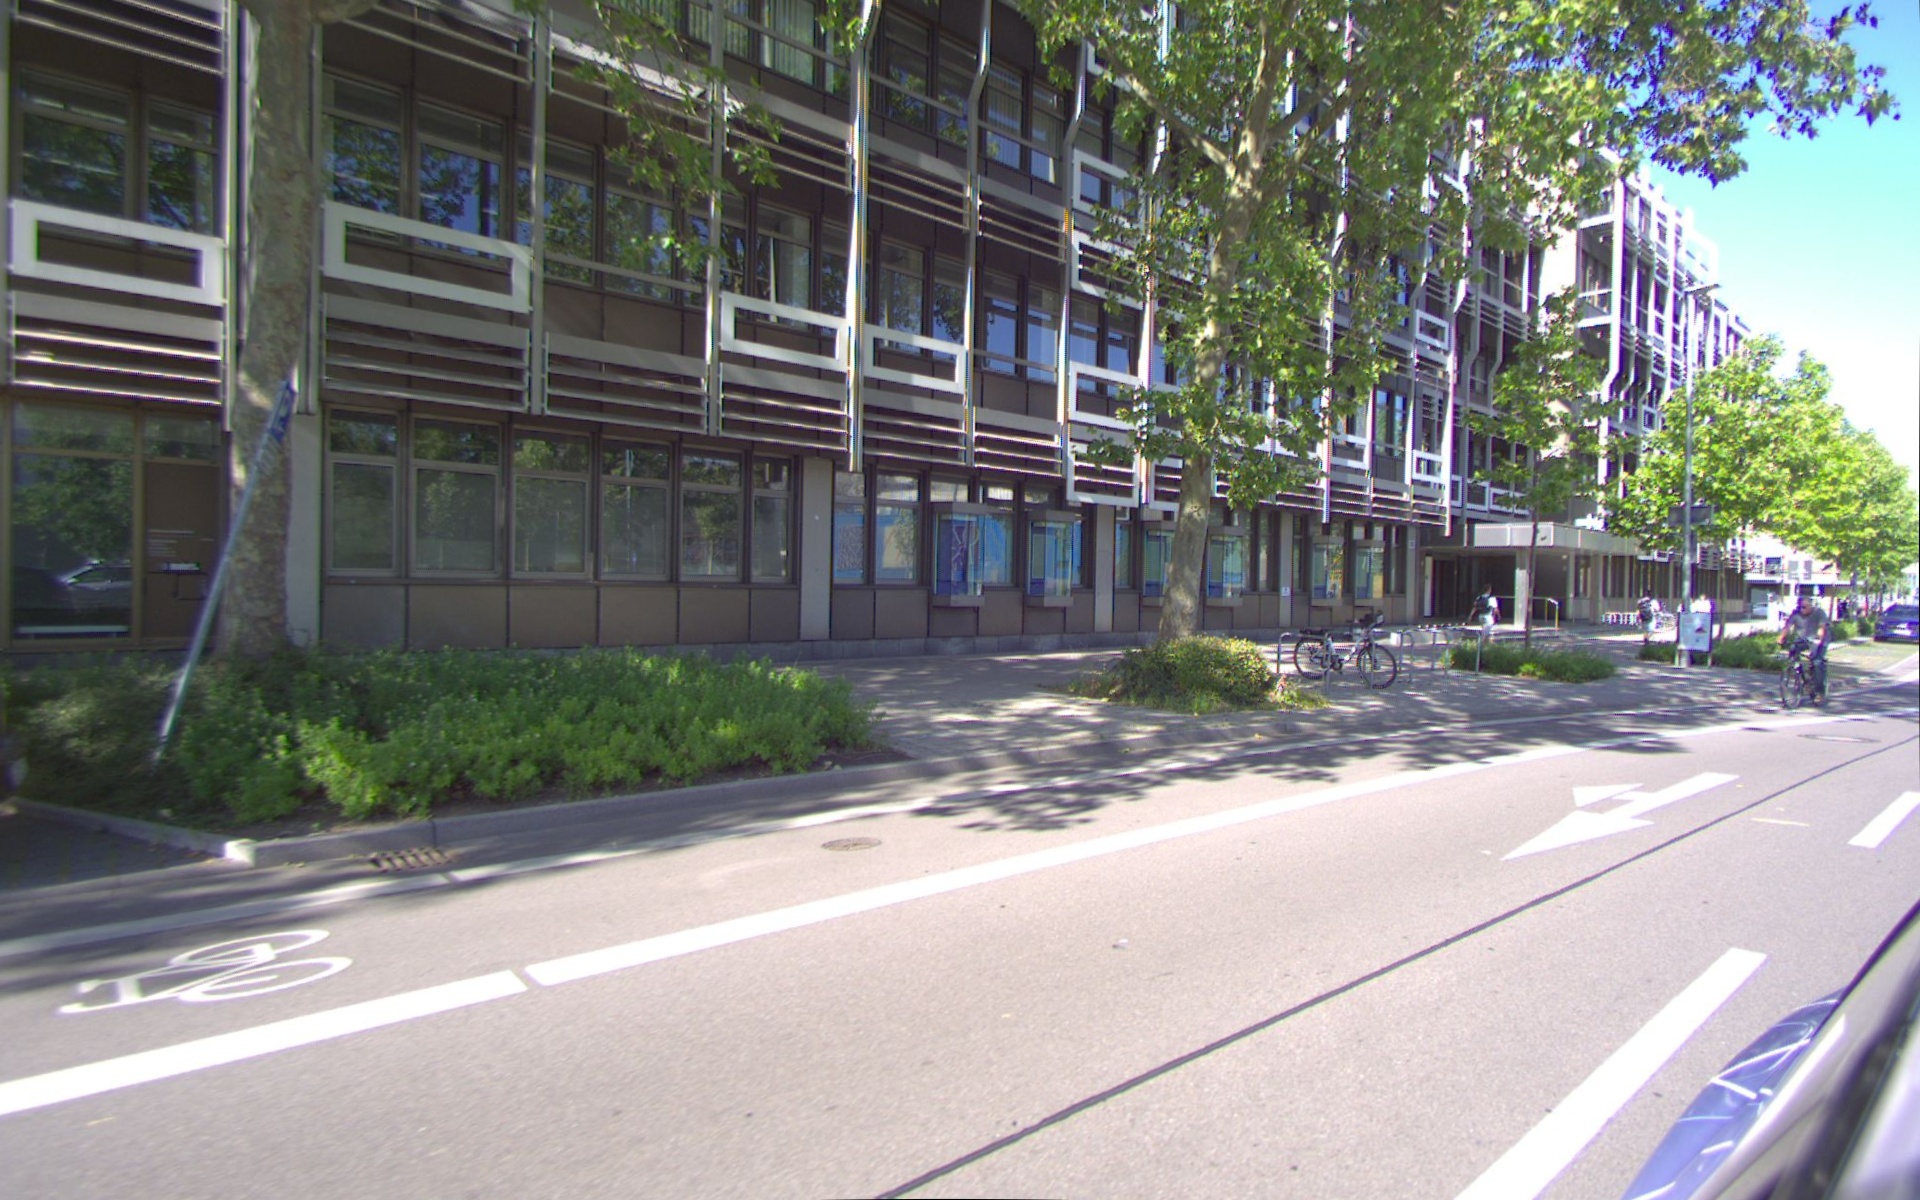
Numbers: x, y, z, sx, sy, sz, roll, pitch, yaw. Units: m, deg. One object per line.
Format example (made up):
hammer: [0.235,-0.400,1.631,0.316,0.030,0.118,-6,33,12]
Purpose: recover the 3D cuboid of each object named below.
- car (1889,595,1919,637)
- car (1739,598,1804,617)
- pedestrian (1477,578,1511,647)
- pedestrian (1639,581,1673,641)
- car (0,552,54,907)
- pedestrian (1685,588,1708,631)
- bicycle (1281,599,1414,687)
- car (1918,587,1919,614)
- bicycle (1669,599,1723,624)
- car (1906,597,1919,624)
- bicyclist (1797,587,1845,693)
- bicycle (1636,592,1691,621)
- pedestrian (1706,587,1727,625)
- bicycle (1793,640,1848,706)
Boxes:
car: [41.640,0.692,43.722,4.767,1.677,1.852,0,3,-44]
car: [72.780,0.638,90.862,4.378,1.563,1.831,2,1,34]
pedestrian: [13.506,0.304,25.586,0.760,1.722,0.512,1,0,-41]
pedestrian: [20.539,0.316,29.853,0.789,1.749,0.648,1,0,-41]
car: [-6.812,0.581,4.102,4.551,1.663,1.709,0,2,-39]
pedestrian: [25.560,0.325,35.121,0.723,1.493,0.512,1,0,-41]
bicycle: [6.289,0.666,16.507,0.569,1.252,1.940,1,2,-43]
car: [62.523,0.032,64.720,1.747,1.679,4.400,2,1,43]
bicycle: [32.643,0.498,44.925,0.419,0.950,1.863,1,3,-39]
car: [54.356,0.586,56.843,1.619,1.483,4.088,4,3,44]
bicyclist: [13.608,0.616,16.000,0.528,1.621,0.513,0,1,-45]
bicycle: [30.188,0.281,43.446,0.419,1.111,1.863,1,3,-39]
pedestrian: [33.291,0.271,44.525,0.662,1.642,0.512,1,3,-41]
bicycle: [13.599,1.124,15.979,0.498,0.917,2.161,-1,-1,45]
